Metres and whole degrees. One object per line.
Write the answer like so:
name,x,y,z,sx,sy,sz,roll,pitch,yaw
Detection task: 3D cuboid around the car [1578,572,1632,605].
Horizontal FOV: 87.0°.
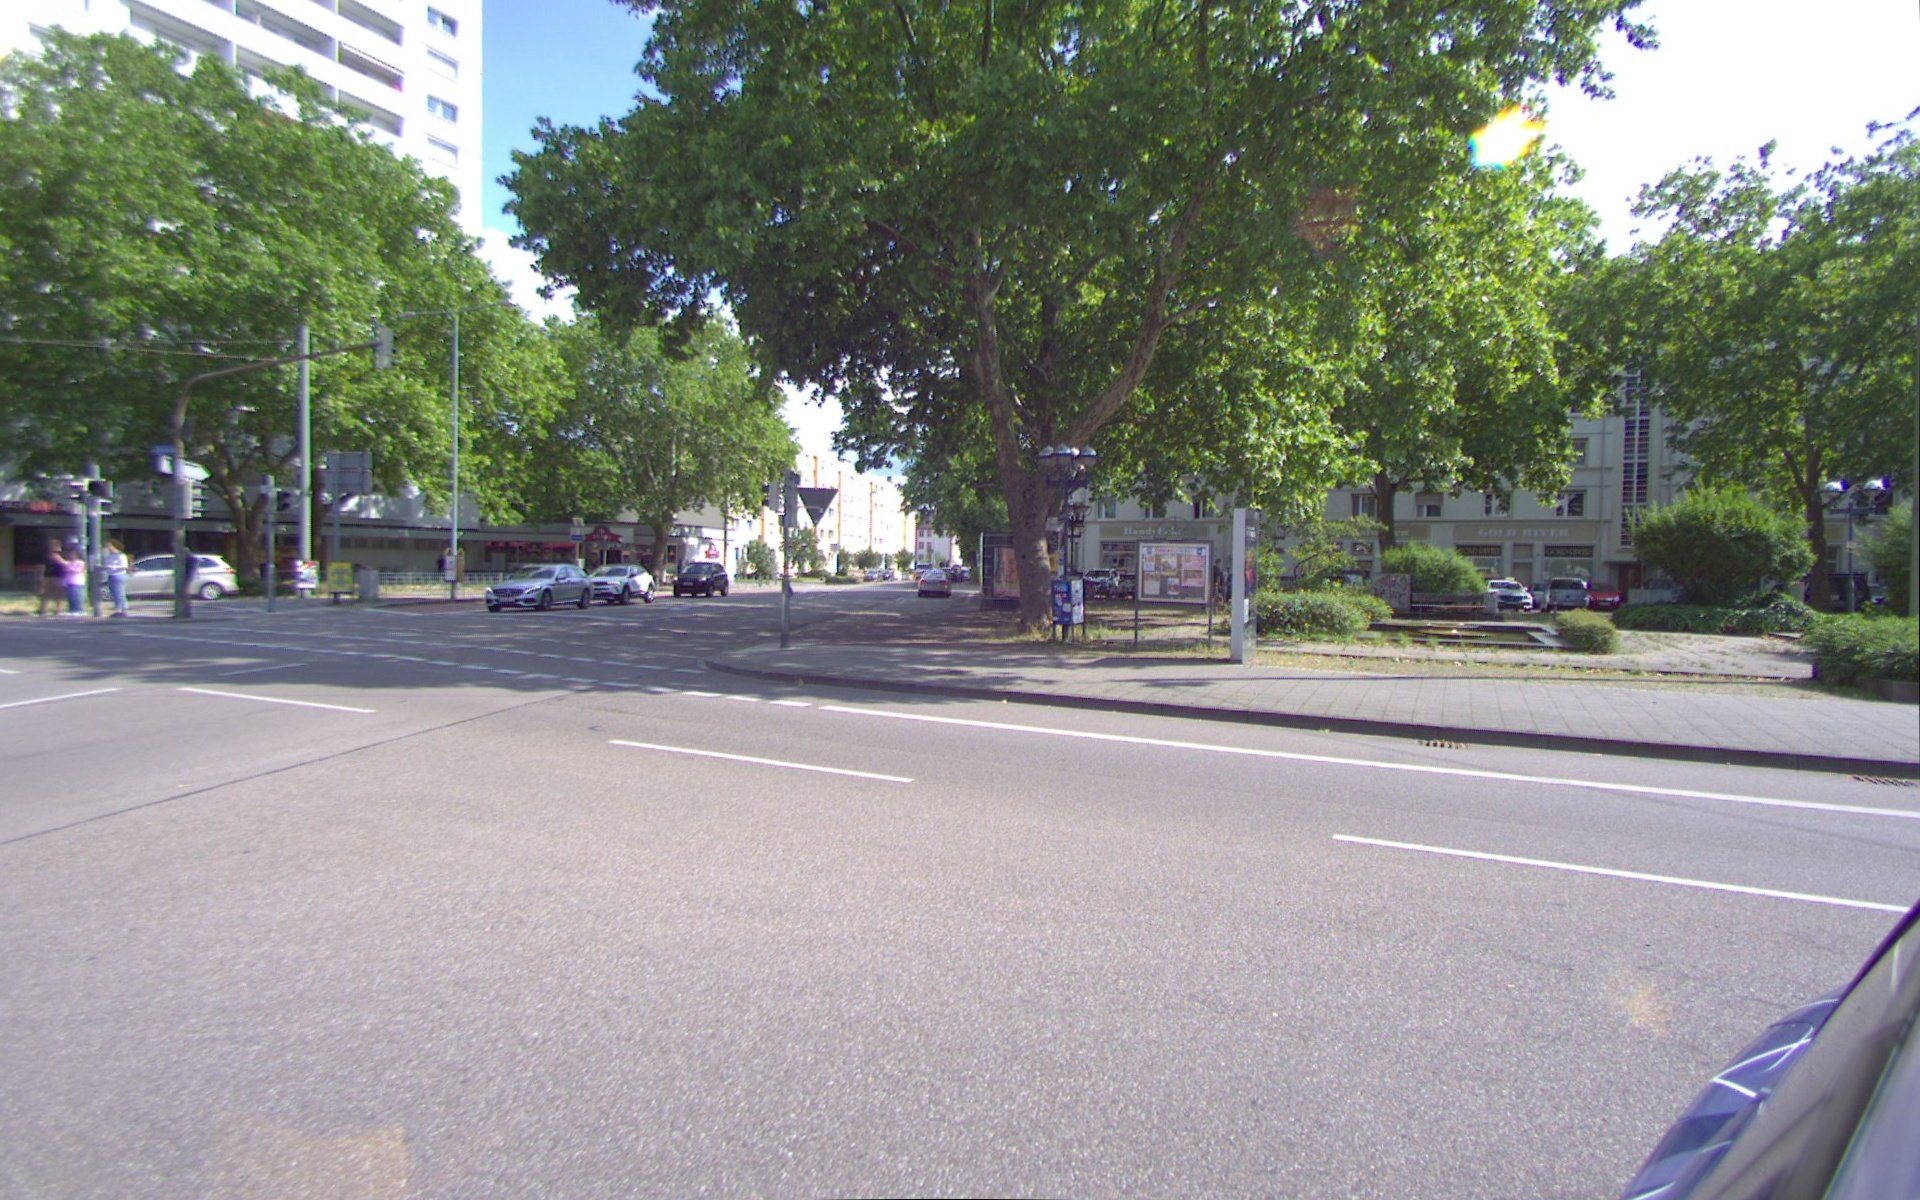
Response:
car,34.893,-0.665,54.821,1.832,1.680,4.051,2,3,24

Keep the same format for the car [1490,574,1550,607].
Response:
car,25.904,-0.470,46.957,1.846,1.370,3.917,1,2,21

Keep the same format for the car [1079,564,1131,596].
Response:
car,8.117,-1.171,56.488,1.832,1.680,4.051,2,3,24

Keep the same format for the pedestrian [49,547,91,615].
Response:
pedestrian,-21.303,-0.461,24.233,0.546,1.617,0.511,1,2,5

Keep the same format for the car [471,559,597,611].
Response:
car,-13.204,-0.514,31.634,1.830,1.508,3.991,1,2,9

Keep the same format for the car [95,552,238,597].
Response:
car,-27.718,-0.906,35.422,3.787,1.508,1.856,-1,3,-45

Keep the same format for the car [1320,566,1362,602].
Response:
car,19.085,-0.843,50.585,1.831,1.680,4.054,2,2,23

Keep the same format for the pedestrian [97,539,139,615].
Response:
pedestrian,-19.842,-0.546,23.858,0.546,1.757,0.528,1,2,5

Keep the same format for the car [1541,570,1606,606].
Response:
car,28.132,-0.599,46.538,1.846,1.537,3.917,1,2,21

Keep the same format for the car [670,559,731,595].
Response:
car,-12.339,-1.120,48.295,1.660,1.639,3.998,1,2,3

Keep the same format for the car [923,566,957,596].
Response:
car,-1.098,-1.090,56.419,1.659,1.519,4.000,1,3,2

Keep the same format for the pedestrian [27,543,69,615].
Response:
pedestrian,-21.864,-0.515,24.277,0.546,1.691,0.511,1,2,5

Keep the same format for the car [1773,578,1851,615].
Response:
car,42.573,-0.203,50.655,1.831,1.680,4.052,2,2,23

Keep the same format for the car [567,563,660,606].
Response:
car,-12.951,-0.643,38.078,1.828,1.508,4.072,1,2,4

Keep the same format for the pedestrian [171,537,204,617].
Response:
pedestrian,-18.220,-0.545,23.887,0.471,1.847,0.558,0,2,-21
